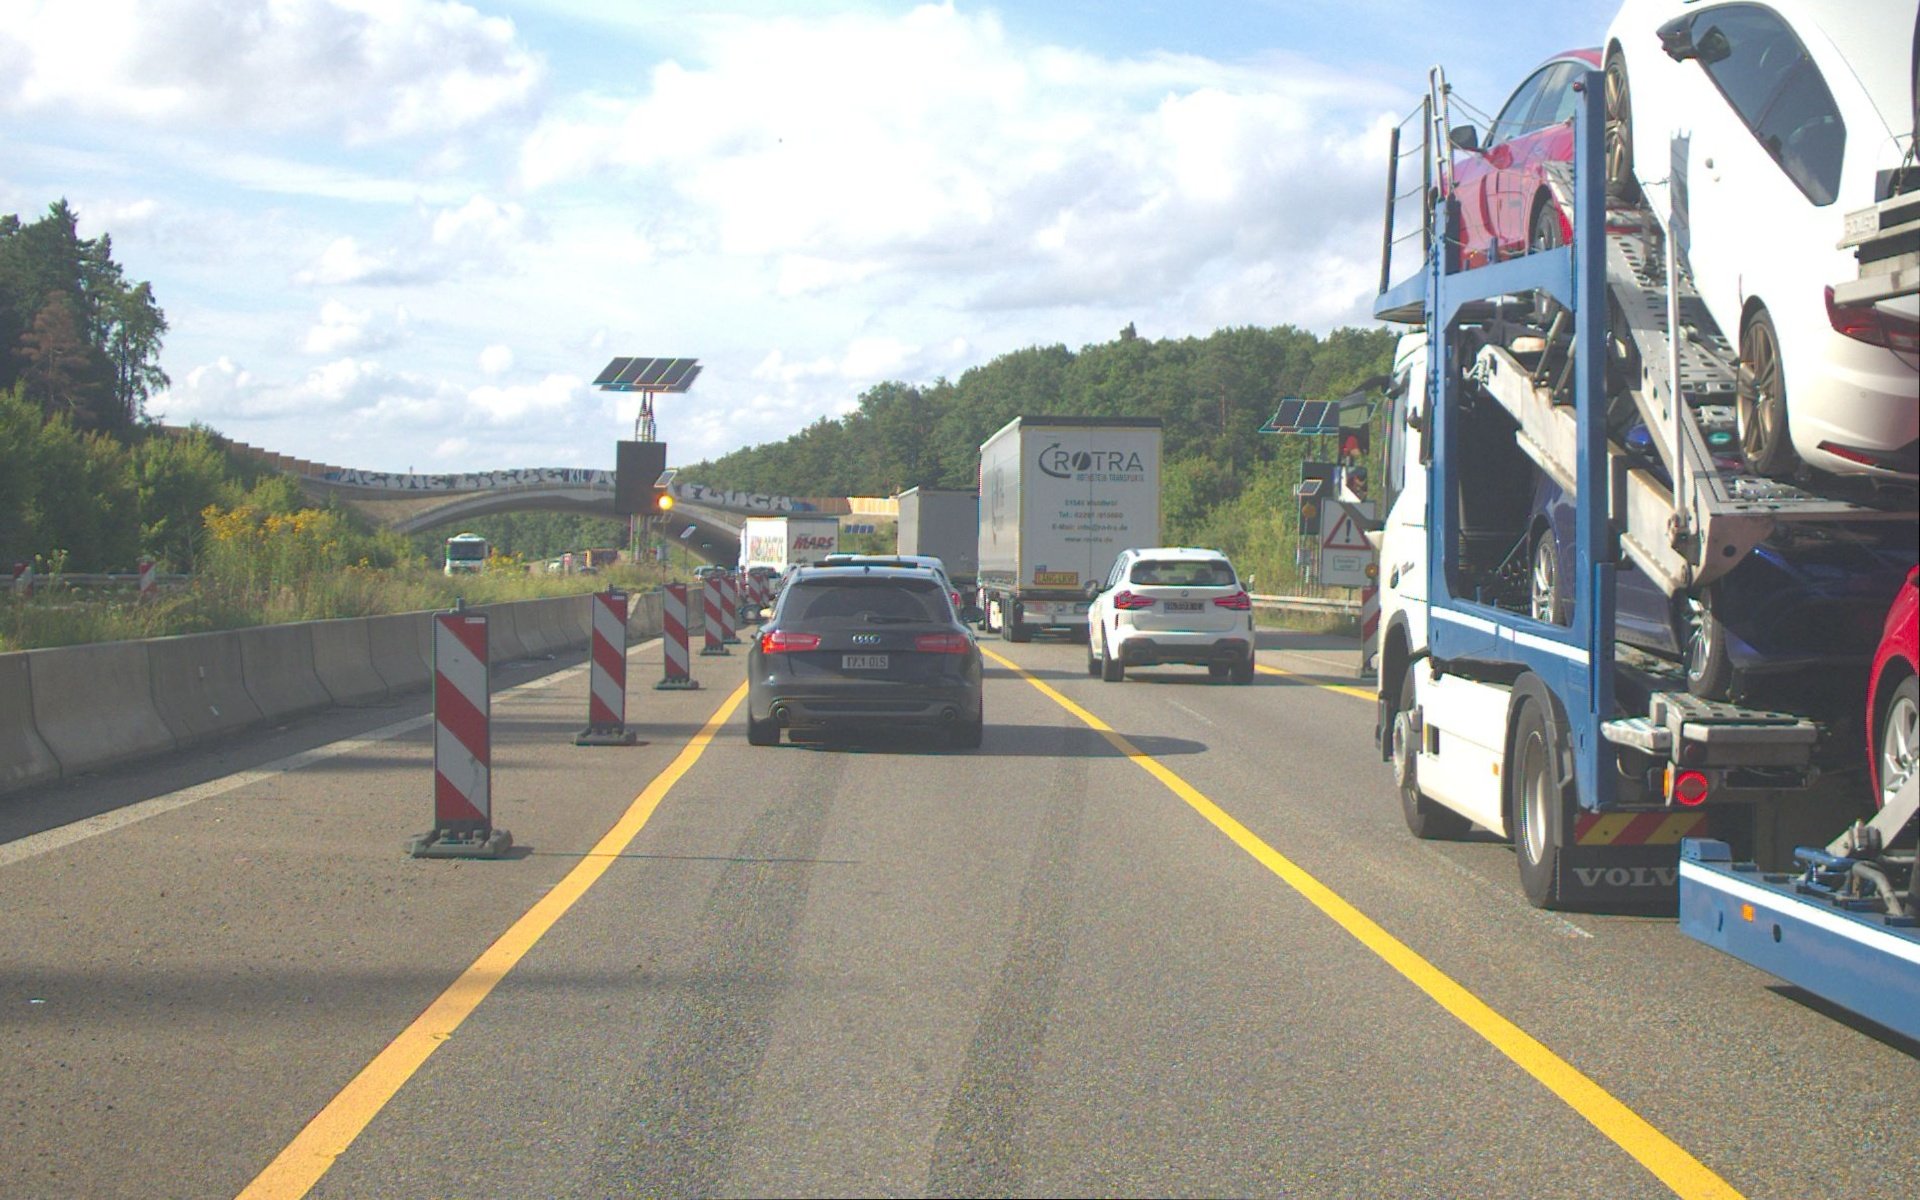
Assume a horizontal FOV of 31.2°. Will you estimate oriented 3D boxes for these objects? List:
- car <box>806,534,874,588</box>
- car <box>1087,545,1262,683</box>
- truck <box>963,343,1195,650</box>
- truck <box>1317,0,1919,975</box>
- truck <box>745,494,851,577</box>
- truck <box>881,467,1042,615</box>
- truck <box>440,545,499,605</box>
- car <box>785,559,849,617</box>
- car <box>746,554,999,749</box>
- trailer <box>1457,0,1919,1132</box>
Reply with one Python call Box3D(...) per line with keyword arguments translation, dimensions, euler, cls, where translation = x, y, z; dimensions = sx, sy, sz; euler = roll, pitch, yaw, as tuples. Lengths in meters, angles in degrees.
Box3D(translation=(-3.754, -1.212, 107.244), dimensions=(1.890, 1.638, 4.018), euler=(1, 0, -5), cls="car")
Box3D(translation=(2.676, 0.150, 43.688), dimensions=(1.890, 1.638, 4.018), euler=(1, 0, -1), cls="car")
Box3D(translation=(2.102, -1.887, 68.716), dimensions=(3.677, 5.335, 16.202), euler=(1, 0, -1), cls="truck")
Box3D(translation=(4.160, -0.796, 16.044), dimensions=(3.761, 4.182, 7.952), euler=(1, 0, -3), cls="truck")
Box3D(translation=(-8.155, -3.170, 171.074), dimensions=(3.653, 3.915, 11.070), euler=(1, 0, -11), cls="truck")
Box3D(translation=(-0.075, -1.904, 114.114), dimensions=(4.318, 4.584, 11.127), euler=(1, 0, -5), cls="truck")
Box3D(translation=(-29.086, -1.499, 204.145), dimensions=(2.785, 3.478, 4.939), euler=(1, 0, -1), cls="truck")
Box3D(translation=(-5.171, -0.446, 124.047), dimensions=(1.993, 2.007, 4.001), euler=(1, 0, -6), cls="car")
Box3D(translation=(-0.690, 0.375, 28.077), dimensions=(1.890, 1.441, 4.000), euler=(1, 0, -1), cls="car")
Box3D(translation=(4.474, -0.644, 7.783), dimensions=(3.726, 4.182, 16.229), euler=(1, 0, -2), cls="trailer")
